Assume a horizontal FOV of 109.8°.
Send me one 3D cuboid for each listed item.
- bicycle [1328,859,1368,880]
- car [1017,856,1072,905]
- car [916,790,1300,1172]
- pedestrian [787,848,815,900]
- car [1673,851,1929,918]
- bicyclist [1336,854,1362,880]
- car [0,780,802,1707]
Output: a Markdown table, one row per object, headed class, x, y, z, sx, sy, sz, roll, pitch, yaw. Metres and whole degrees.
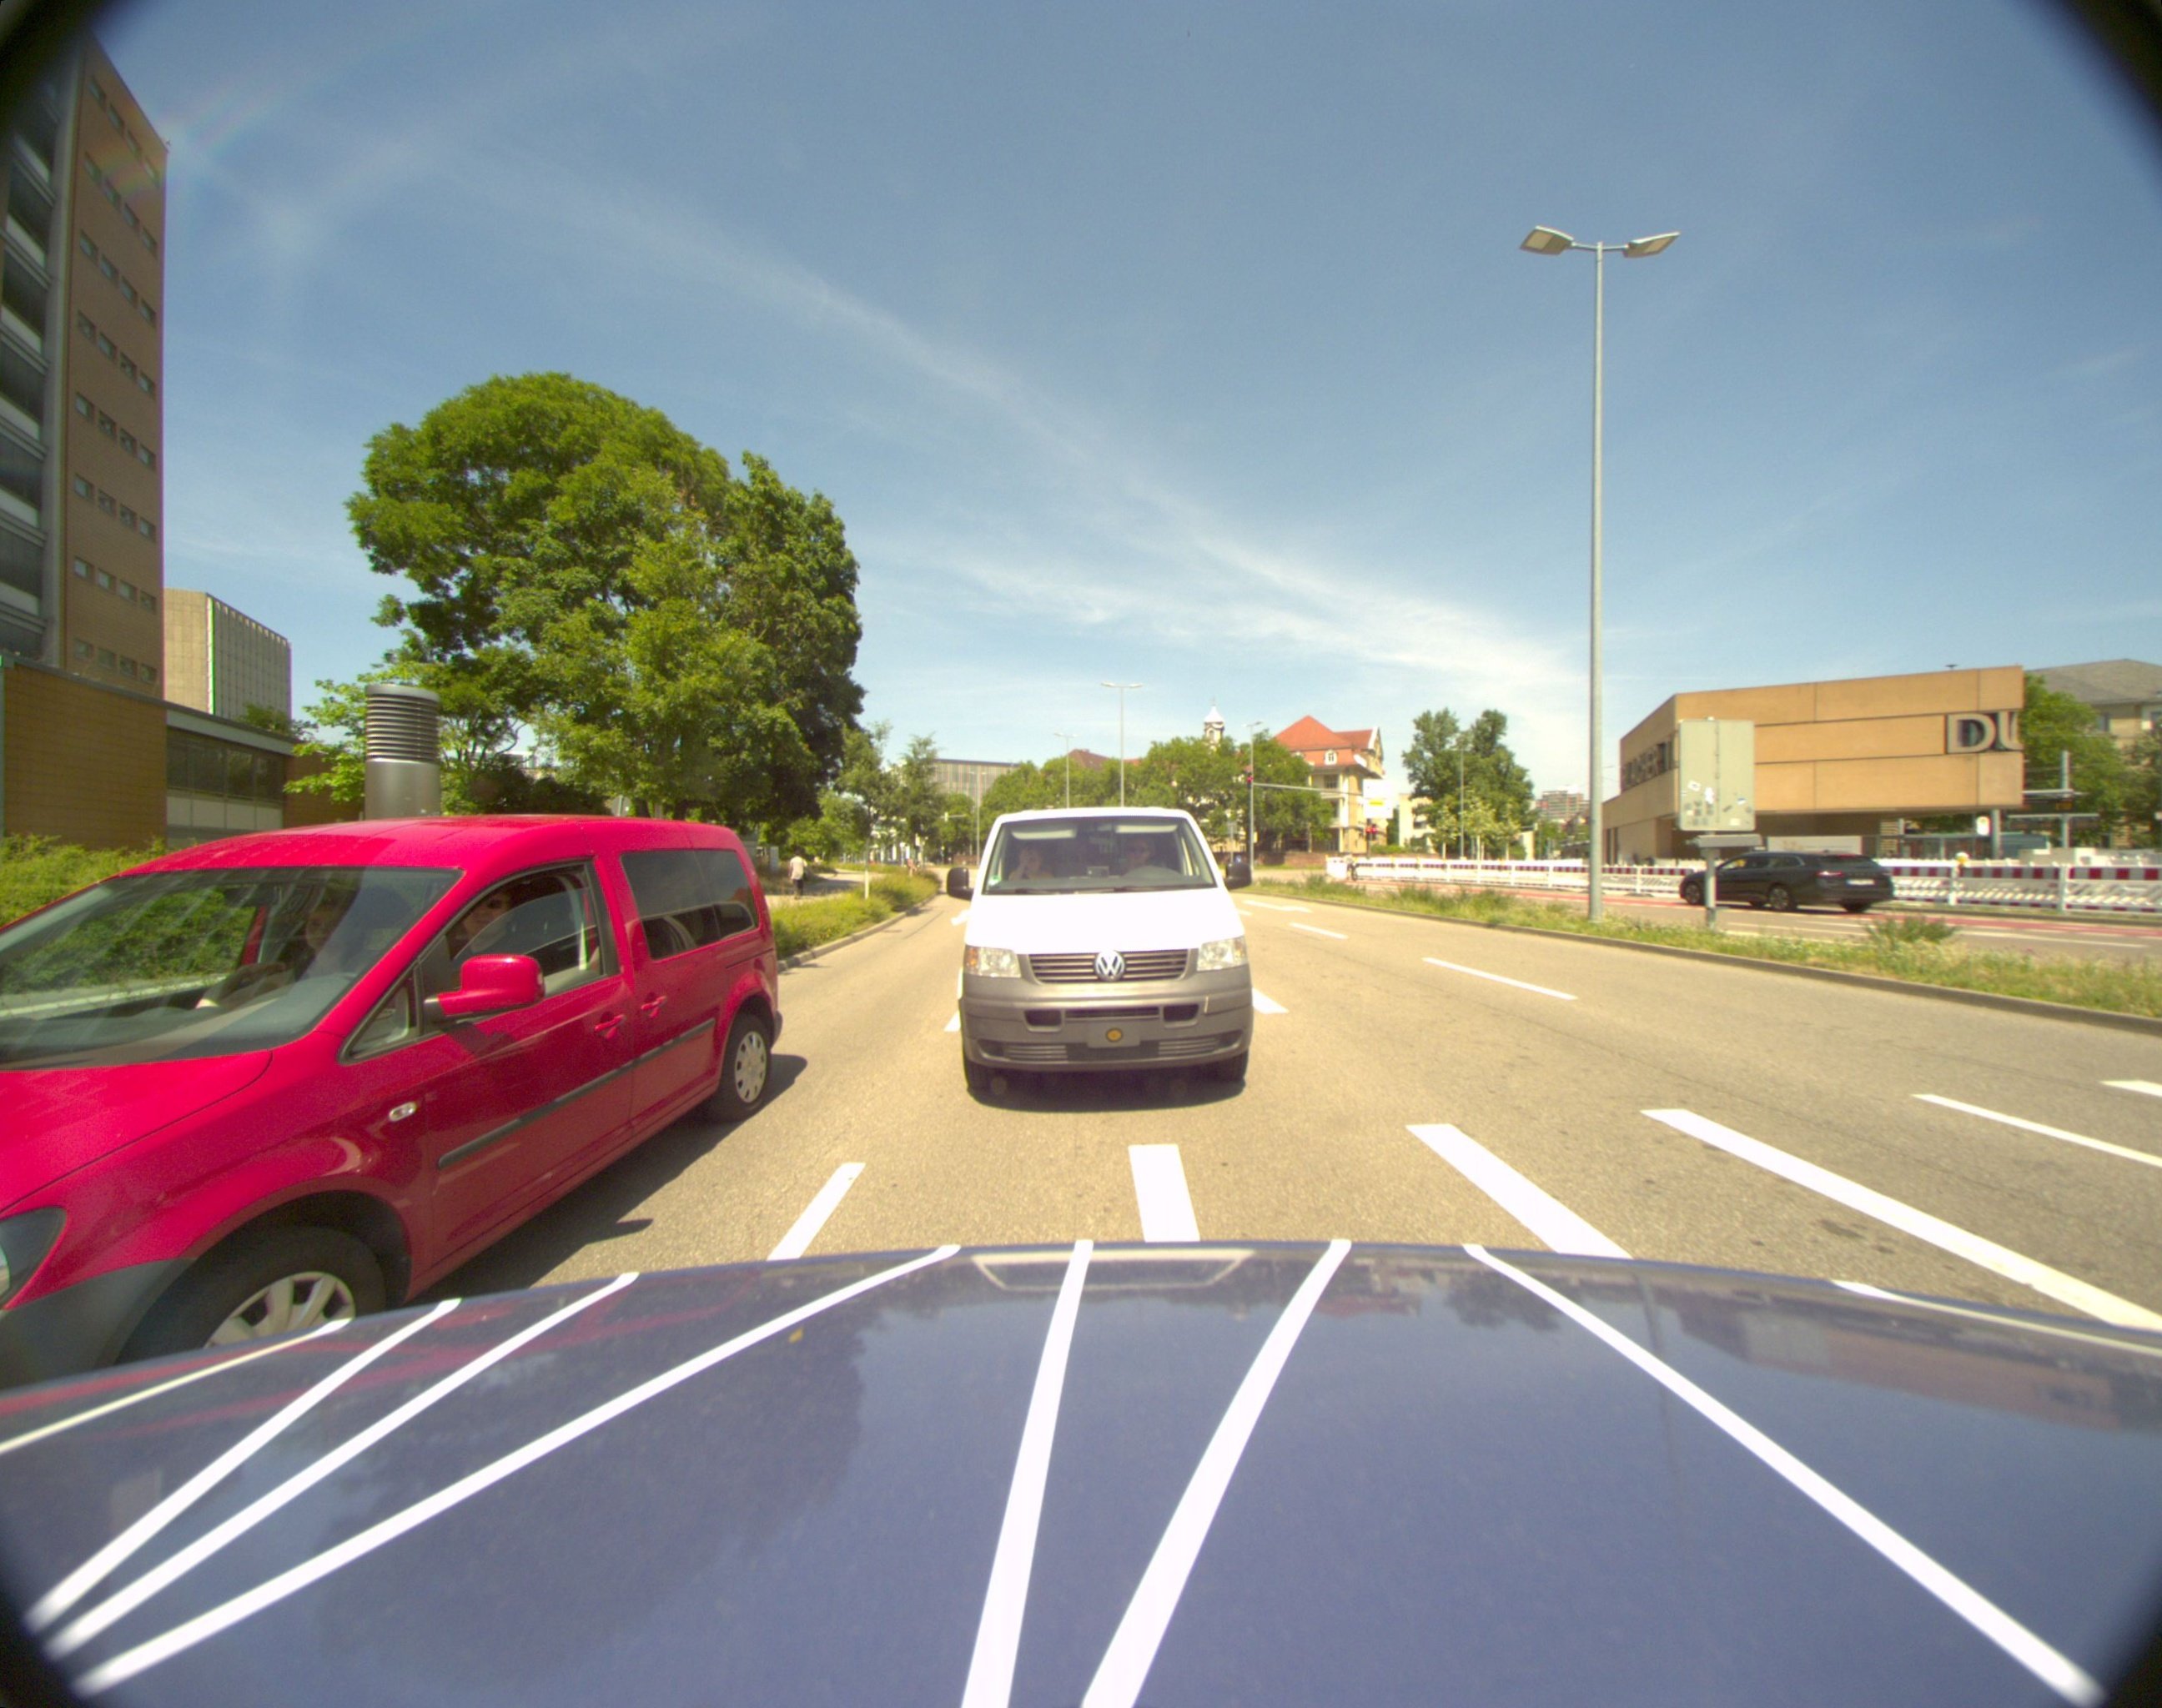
| class | x | y | z | sx | sy | sz | roll | pitch | yaw |
| --- | --- | --- | --- | --- | --- | --- | --- | --- | --- |
| bicycle | 14.305 | 0.807 | 40.758 | 0.879 | 1.066 | 2.229 | -2 | 1 | -14 |
| car | -1.736 | 1.144 | 34.822 | 2.000 | 2.002 | 3.996 | -2 | 1 | -10 |
| car | 0.111 | 0.665 | 6.451 | 1.971 | 1.958 | 4.848 | -2 | 0 | -1 |
| pedestrian | -9.882 | 0.703 | 26.798 | 0.728 | 1.787 | 0.614 | 0 | 0 | 1 |
| car | 17.696 | 0.675 | 19.107 | 1.998 | 1.456 | 4.847 | 0 | 0 | 3 |
| bicyclist | 14.356 | 0.671 | 40.712 | 0.587 | 1.348 | 1.438 | -3 | 1 | -14 |
| car | -2.839 | 0.805 | 3.136 | 1.655 | 1.848 | 4.545 | -1 | 0 | 0 |
